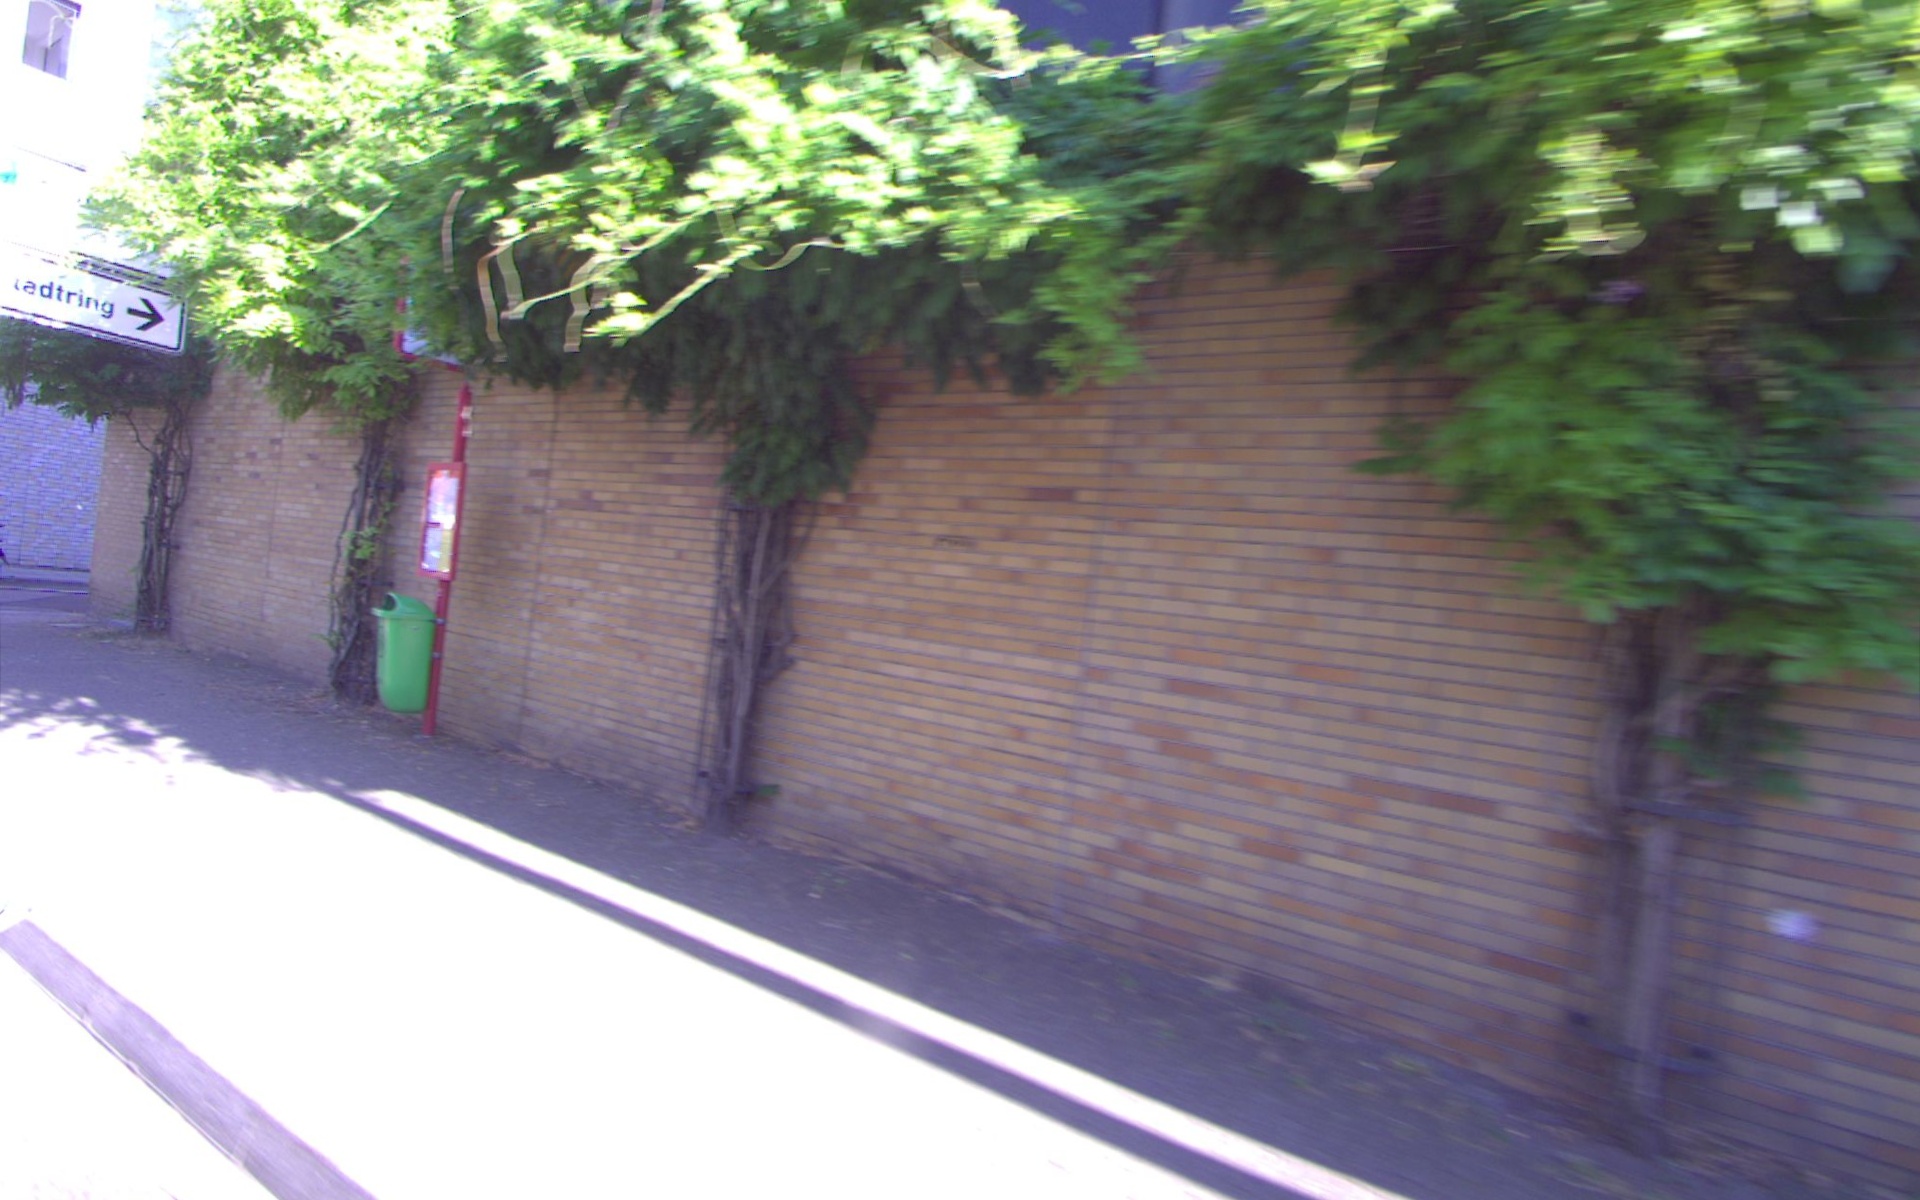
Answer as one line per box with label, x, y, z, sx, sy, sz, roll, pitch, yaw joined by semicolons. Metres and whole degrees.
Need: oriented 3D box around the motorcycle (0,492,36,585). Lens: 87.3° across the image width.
motorcycle;-14.598;-0.973;14.012;2.315;1.297;0.889;6;0;-30
